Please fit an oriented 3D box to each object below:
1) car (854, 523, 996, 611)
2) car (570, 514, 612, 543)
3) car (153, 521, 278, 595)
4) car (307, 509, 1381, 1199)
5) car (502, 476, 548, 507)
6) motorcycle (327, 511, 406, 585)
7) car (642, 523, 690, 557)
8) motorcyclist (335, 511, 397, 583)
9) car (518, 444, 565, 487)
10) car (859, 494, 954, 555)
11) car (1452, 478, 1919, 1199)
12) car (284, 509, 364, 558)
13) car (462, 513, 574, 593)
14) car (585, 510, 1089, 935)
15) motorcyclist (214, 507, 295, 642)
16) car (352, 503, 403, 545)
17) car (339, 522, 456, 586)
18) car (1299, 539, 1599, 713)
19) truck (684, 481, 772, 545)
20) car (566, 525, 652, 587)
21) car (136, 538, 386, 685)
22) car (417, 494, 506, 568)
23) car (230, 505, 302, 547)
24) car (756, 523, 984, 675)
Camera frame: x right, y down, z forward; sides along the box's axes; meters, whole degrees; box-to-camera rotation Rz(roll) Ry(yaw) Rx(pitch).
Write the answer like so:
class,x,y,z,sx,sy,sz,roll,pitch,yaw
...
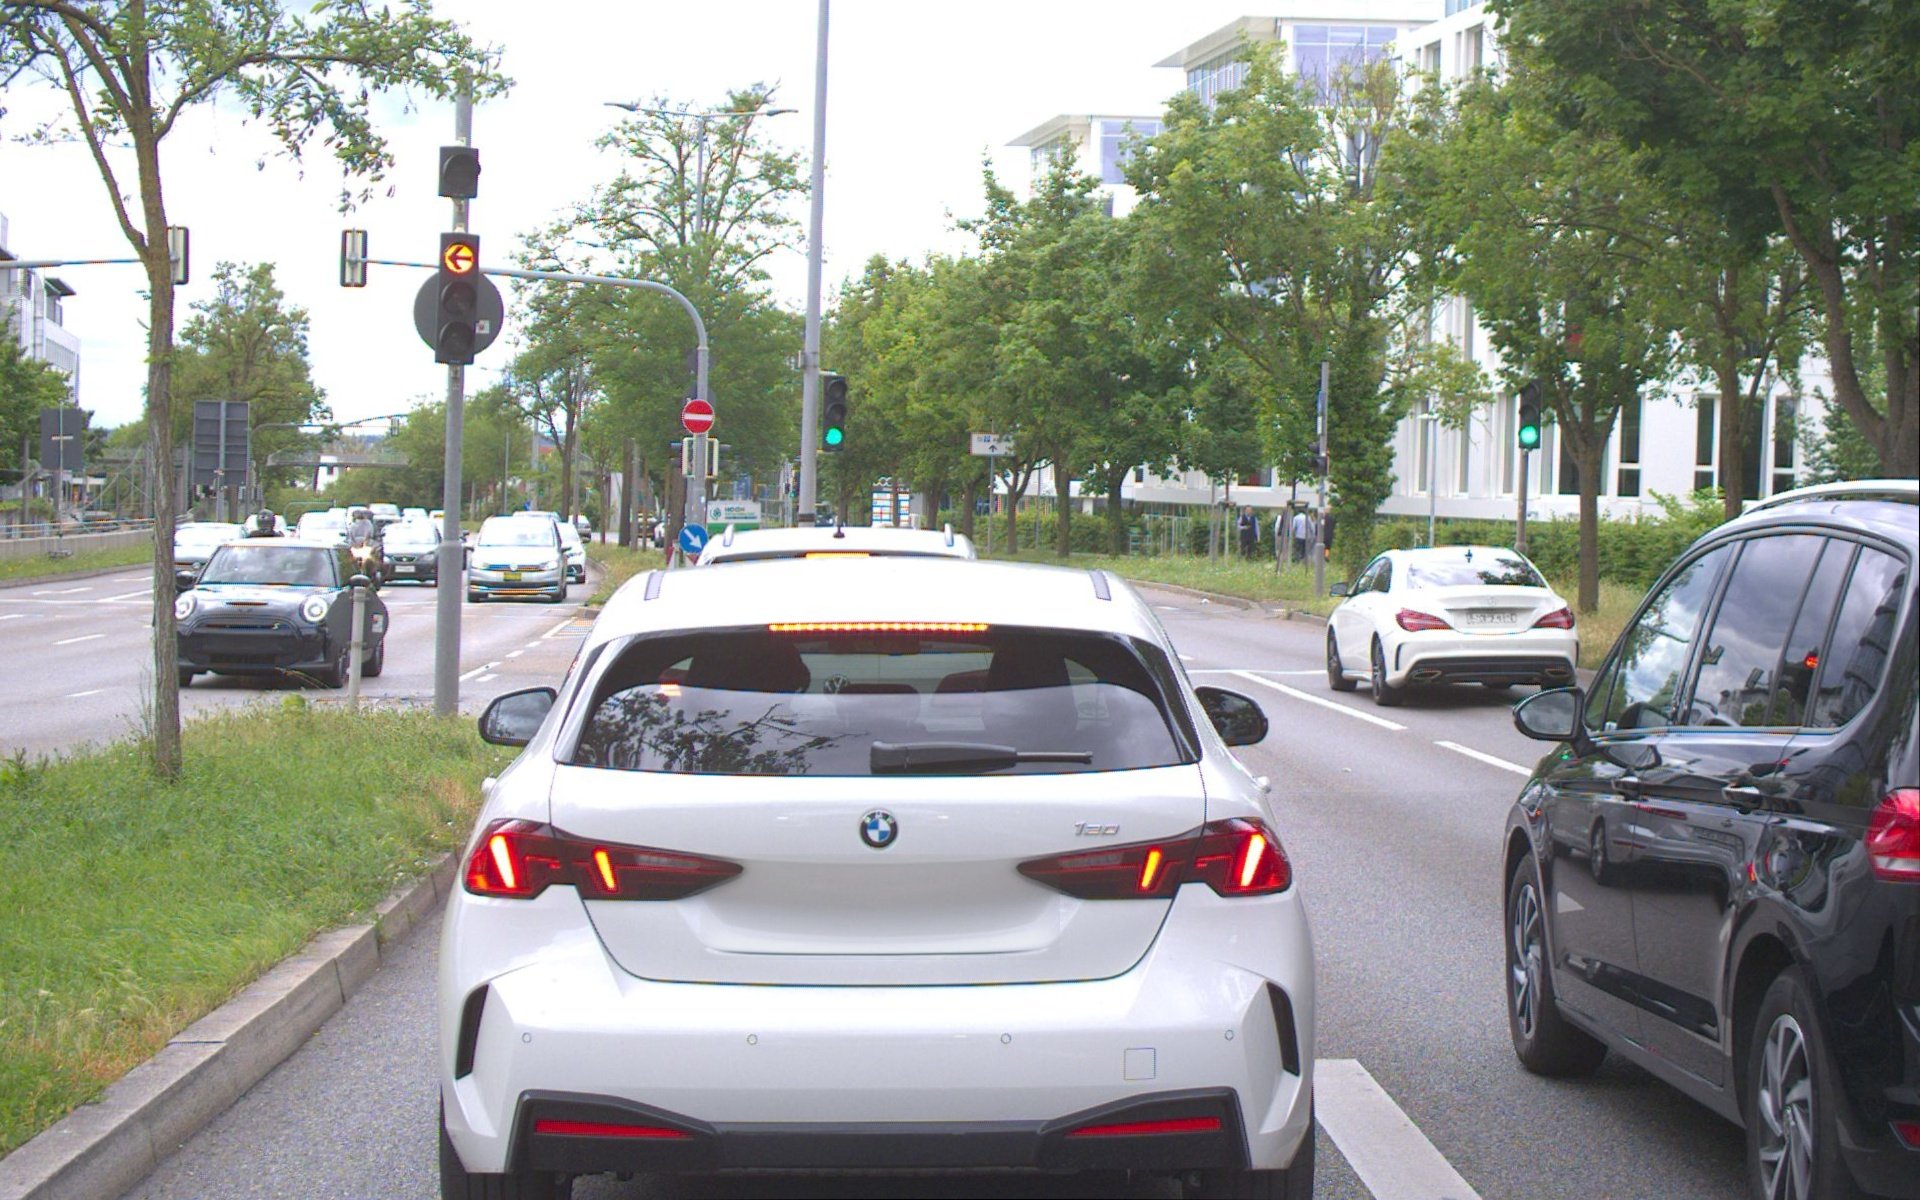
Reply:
class,x,y,z,sx,sy,sz,roll,pitch,yaw
car,-0.697,-0.643,63.027,2.053,1.481,4.974,-2,2,-7
car,-20.135,-3.901,187.715,1.993,1.485,4.001,2,1,-3
car,-14.753,-0.848,68.284,1.708,1.414,3.803,0,1,-1
car,-0.149,0.561,8.045,1.863,1.444,4.000,1,1,2
car,-24.230,-6.047,191.578,1.993,1.612,4.000,3,1,-1
motorcycle,-11.646,-1.029,67.571,0.889,1.393,4.000,1,1,-1
car,-13.547,-2.787,158.073,1.993,1.503,4.001,1,1,-8
motorcyclist,-11.641,-1.043,67.458,0.910,1.387,1.674,1,1,-1
car,-21.174,-6.821,174.177,1.993,2.004,4.325,3,1,-3
car,-1.488,-2.088,94.433,1.993,1.590,4.001,1,1,-9
car,2.532,0.557,8.256,1.966,1.635,4.313,0,1,-2
car,-18.848,-1.961,101.984,1.708,1.414,3.803,0,1,-1
car,-8.494,-0.912,66.365,1.708,1.492,3.803,0,1,-1
car,-0.489,0.471,15.861,1.993,1.666,4.000,1,1,0
motorcyclist,-9.828,-0.365,47.920,0.848,1.830,1.259,1,1,-1
car,-28.882,-3.787,170.650,1.993,2.004,4.325,1,1,-3
car,-12.666,-1.048,77.603,1.993,1.349,4.000,1,1,-1
car,4.481,0.193,32.192,1.793,1.467,4.700,2,1,-4
truck,-9.532,-3.537,140.762,2.858,2.511,6.289,1,1,-10
car,-8.313,-1.064,81.681,1.667,1.400,4.000,1,1,-1
car,-6.872,0.075,34.142,1.754,1.366,3.780,0,1,-1
car,-13.982,-1.932,96.620,1.993,2.007,4.000,1,1,-1
car,-23.444,-2.497,116.240,1.708,1.414,3.803,0,1,-1
car,-0.910,-0.031,37.211,1.994,1.503,3.999,1,1,5
